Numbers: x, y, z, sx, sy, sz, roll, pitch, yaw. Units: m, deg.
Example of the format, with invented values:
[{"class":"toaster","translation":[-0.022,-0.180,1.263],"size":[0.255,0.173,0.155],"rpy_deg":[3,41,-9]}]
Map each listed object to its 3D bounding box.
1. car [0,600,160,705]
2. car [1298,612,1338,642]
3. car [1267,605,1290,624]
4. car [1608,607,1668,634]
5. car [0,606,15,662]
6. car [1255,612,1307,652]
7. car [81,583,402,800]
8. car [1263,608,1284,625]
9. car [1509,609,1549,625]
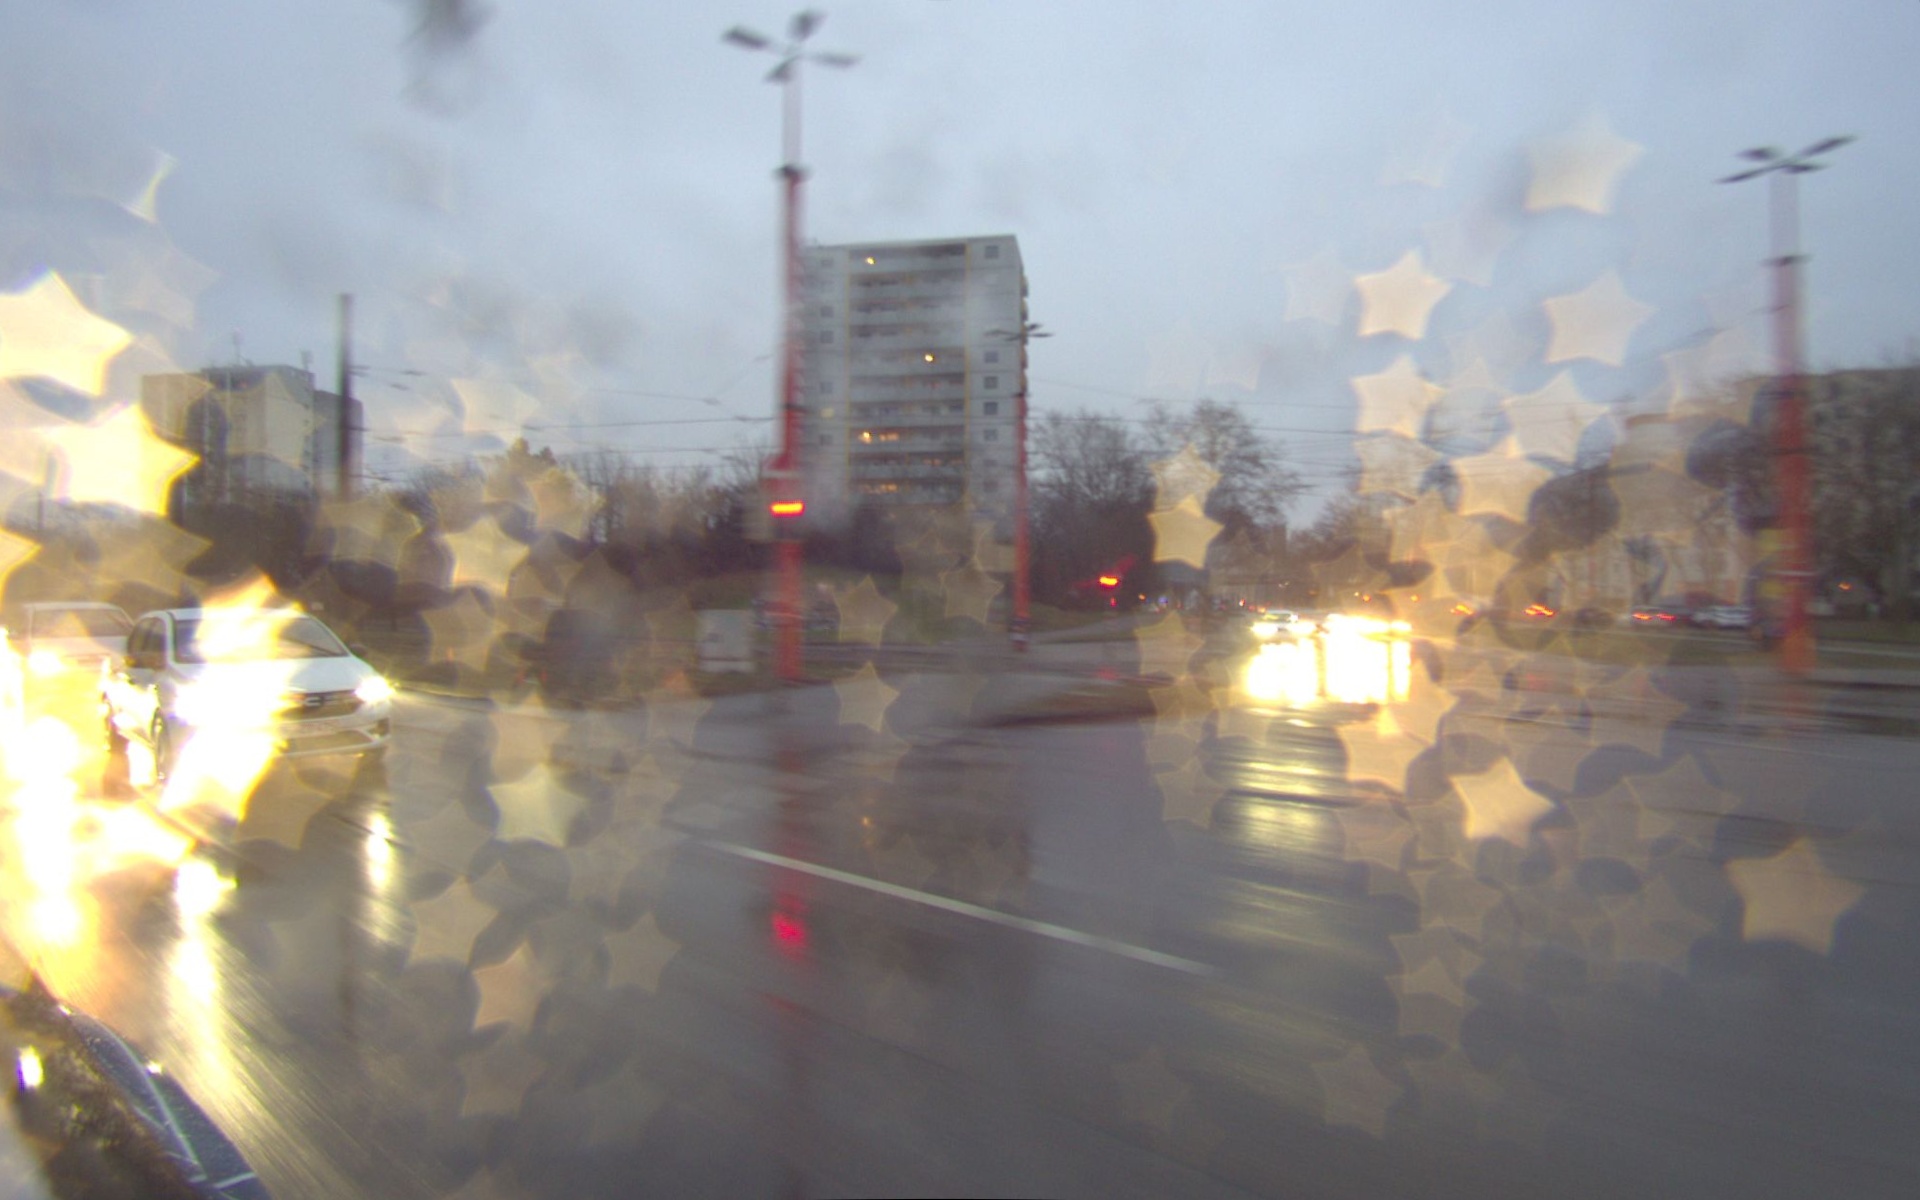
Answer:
[{"class":"car","translation":[-15.076,0.803,17.166],"size":[4.189,1.551,1.672],"rpy_deg":[-1,0,42]},{"class":"car","translation":[19.433,1.440,55.090],"size":[1.697,1.556,3.981],"rpy_deg":[0,-1,15]},{"class":"car","translation":[27.858,1.265,88.493],"size":[1.697,1.556,3.961],"rpy_deg":[0,-1,15]},{"class":"car","translation":[43.218,1.323,64.609],"size":[1.519,1.652,3.990],"rpy_deg":[0,-1,8]},{"class":"car","translation":[-29.800,1.006,30.199],"size":[4.122,1.612,1.927],"rpy_deg":[-1,-1,41]},{"class":"car","translation":[13.321,1.304,42.225],"size":[1.834,1.556,4.419],"rpy_deg":[0,-1,15]},{"class":"car","translation":[-7.062,0.718,9.779],"size":[4.146,1.660,1.695],"rpy_deg":[-1,-1,42]},{"class":"car","translation":[29.521,1.568,95.346],"size":[1.697,1.556,3.961],"rpy_deg":[0,-1,15]},{"class":"car","translation":[49.701,1.486,88.410],"size":[1.756,1.397,3.988],"rpy_deg":[0,-1,9]}]
